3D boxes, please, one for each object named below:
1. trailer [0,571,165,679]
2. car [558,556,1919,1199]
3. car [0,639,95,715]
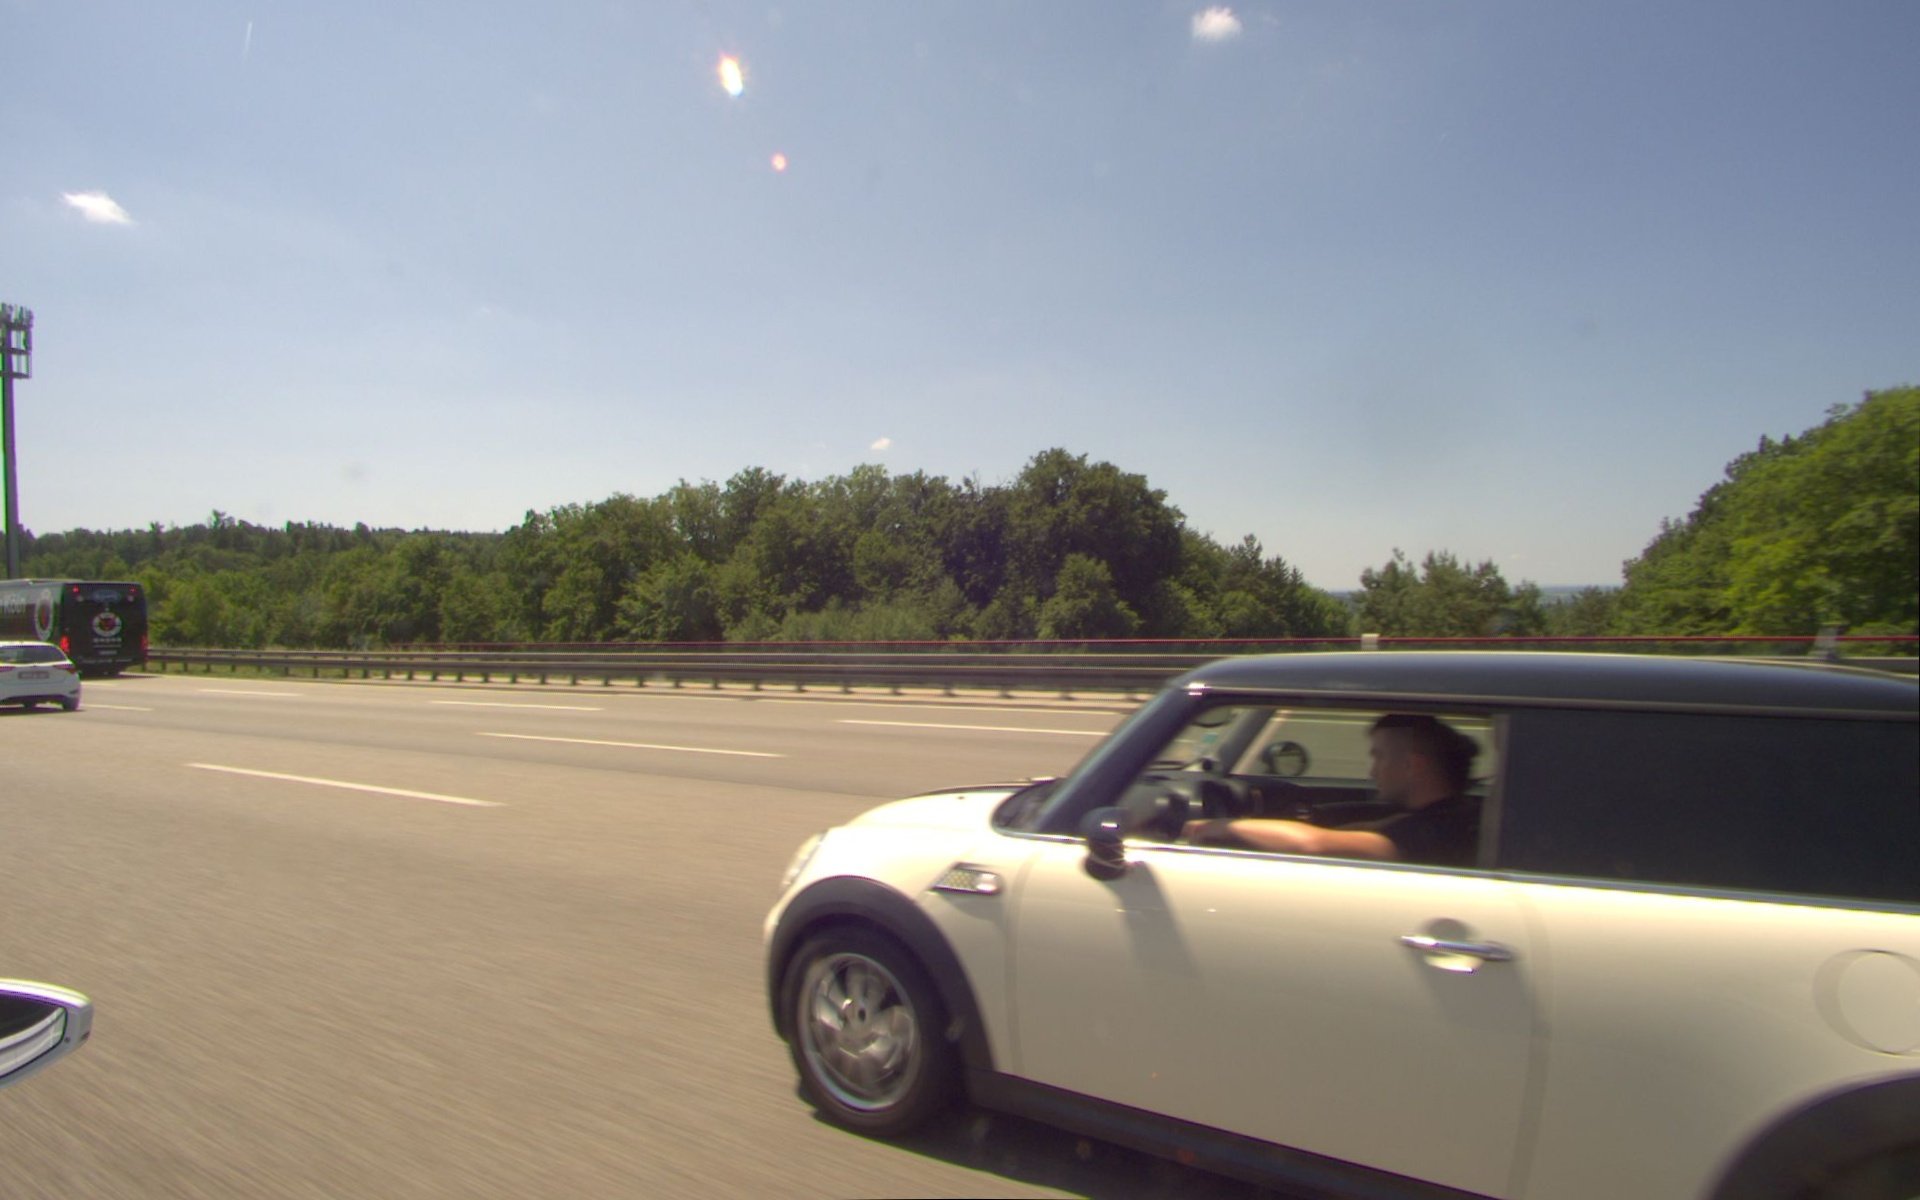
[{"bbox_3d":[-35.905,1.054,39.664,13.356,3.736,2.850,-2,0,34],"label":"trailer"},{"bbox_3d":[0.695,0.789,3.330,3.944,1.571,1.838,-2,-3,33],"label":"car"},{"bbox_3d":[-20.784,1.635,21.842,4.313,1.452,1.663,-2,0,32],"label":"car"}]
